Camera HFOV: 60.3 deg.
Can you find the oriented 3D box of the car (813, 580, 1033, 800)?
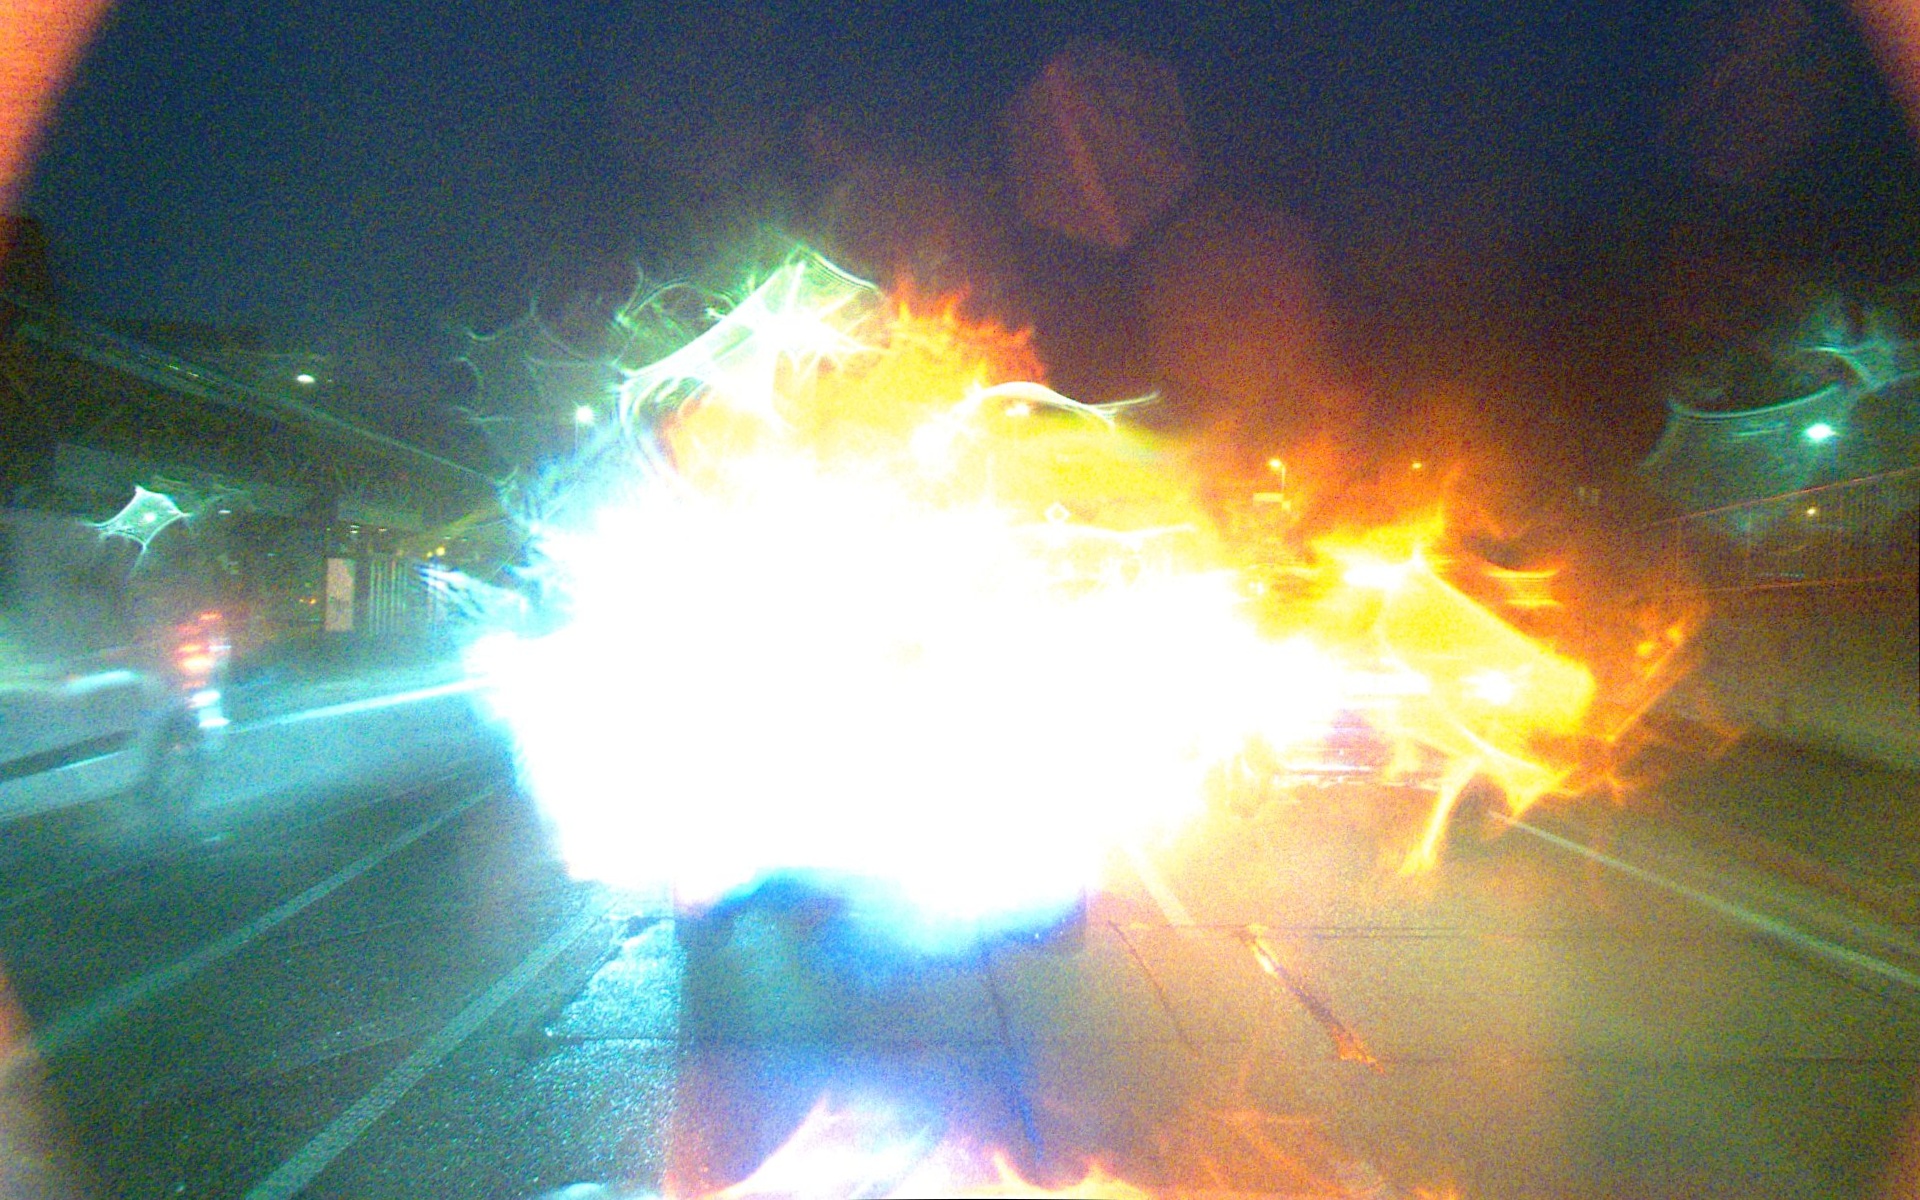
[{"bbox_3d":[-0.297,0.673,14.640,1.674,1.666,3.730,-1,1,0],"label":"car"}]

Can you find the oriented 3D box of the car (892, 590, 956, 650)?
[{"bbox_3d":[-1.086,0.564,48.815,1.675,1.666,3.727,-1,1,-4],"label":"car"}]

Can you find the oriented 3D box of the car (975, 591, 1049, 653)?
[{"bbox_3d":[1.249,0.543,41.372,1.629,1.475,4.048,0,0,-1],"label":"car"}]

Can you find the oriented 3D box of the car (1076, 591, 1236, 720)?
[{"bbox_3d":[2.423,0.631,21.344,1.731,1.475,4.219,0,1,2],"label":"car"}]

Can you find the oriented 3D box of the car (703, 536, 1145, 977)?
[{"bbox_3d":[-0.161,0.604,8.212,1.660,1.658,3.852,1,0,-1],"label":"car"}]

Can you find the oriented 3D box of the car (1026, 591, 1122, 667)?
[{"bbox_3d":[2.321,0.561,34.577,1.629,1.475,4.049,0,1,-1],"label":"car"}]

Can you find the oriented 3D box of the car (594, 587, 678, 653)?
[{"bbox_3d":[-7.690,0.445,39.507,1.687,1.468,3.733,1,0,-7],"label":"car"}]

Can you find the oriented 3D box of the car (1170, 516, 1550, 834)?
[{"bbox_3d":[2.809,0.454,12.614,1.902,2.006,4.218,0,1,0],"label":"car"}]

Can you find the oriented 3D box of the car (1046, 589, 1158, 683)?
[{"bbox_3d":[2.338,0.576,27.993,1.629,1.475,4.050,0,0,1],"label":"car"}]

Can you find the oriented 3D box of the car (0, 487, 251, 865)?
[{"bbox_3d":[-5.920,0.385,9.153,1.953,1.945,4.742,0,0,0],"label":"car"}]
